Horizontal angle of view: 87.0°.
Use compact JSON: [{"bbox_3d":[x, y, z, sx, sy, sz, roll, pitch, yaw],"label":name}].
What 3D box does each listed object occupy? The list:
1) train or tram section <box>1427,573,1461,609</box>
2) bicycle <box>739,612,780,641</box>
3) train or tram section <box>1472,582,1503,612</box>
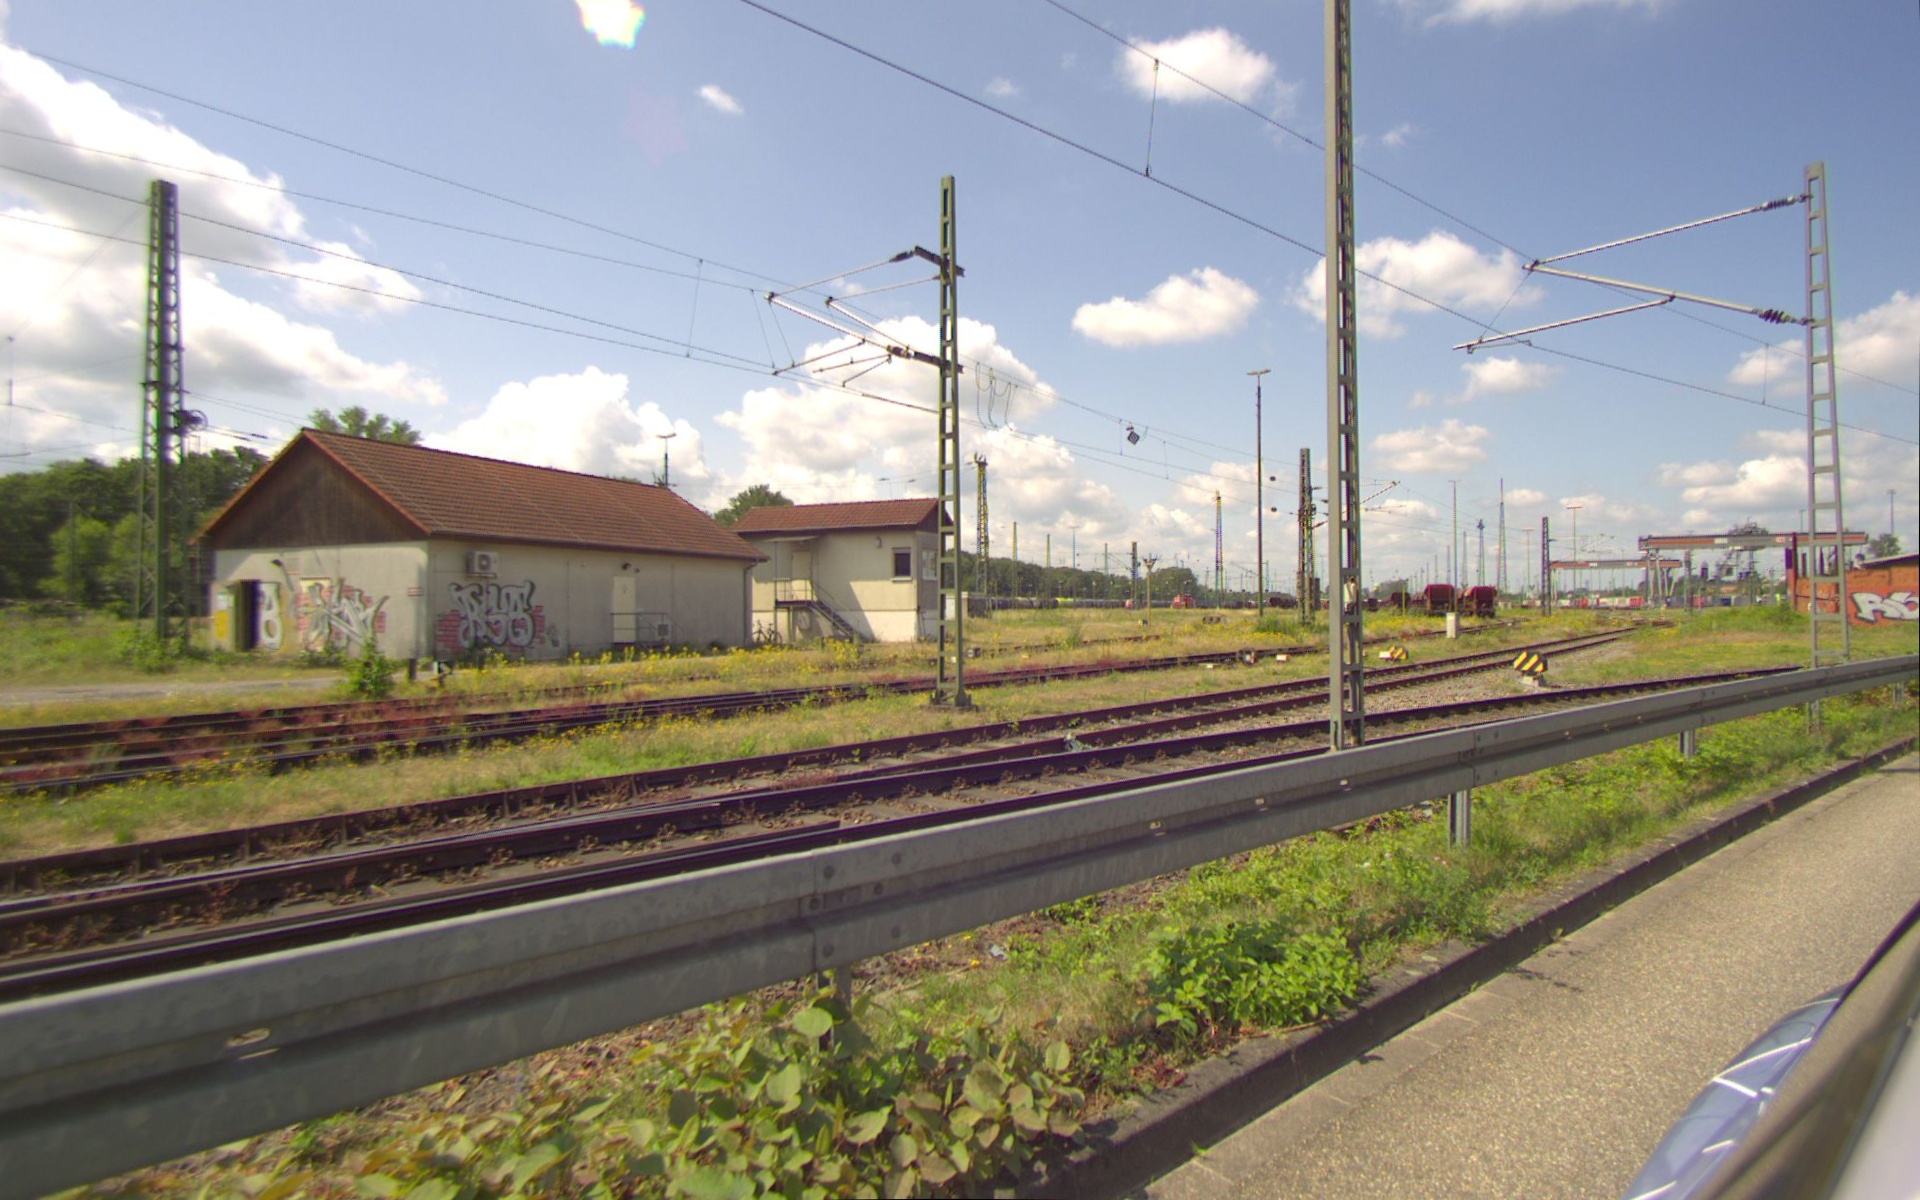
[{"bbox_3d":[54.218,-0.888,113.266,3.269,3.764,12.436,-1,-1,26],"label":"train or tram section"},{"bbox_3d":[-8.631,1.137,43.581,1.855,1.219,0.409,-1,-1,27],"label":"bicycle"},{"bbox_3d":[68.374,-0.358,131.407,3.174,3.764,12.436,-1,-1,26],"label":"train or tram section"}]
